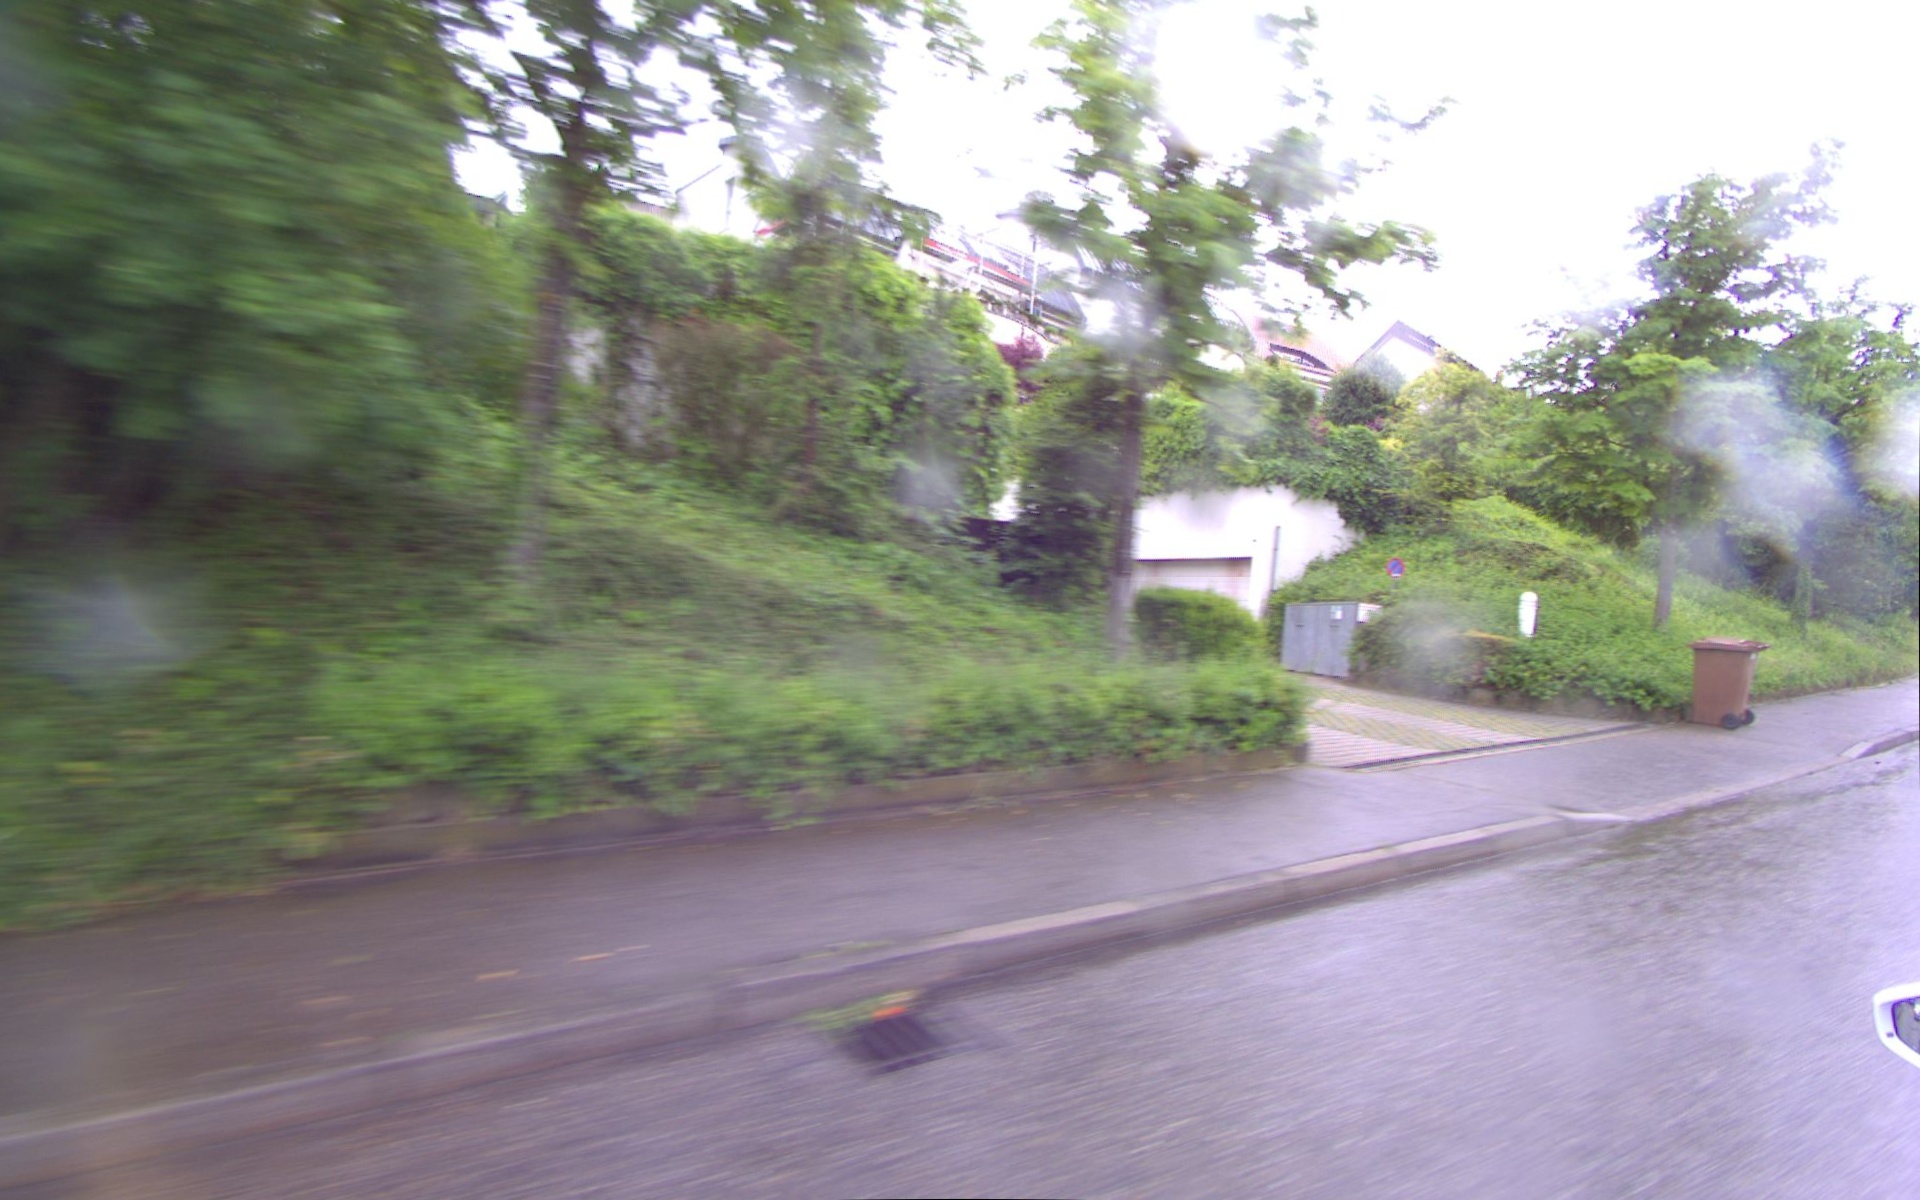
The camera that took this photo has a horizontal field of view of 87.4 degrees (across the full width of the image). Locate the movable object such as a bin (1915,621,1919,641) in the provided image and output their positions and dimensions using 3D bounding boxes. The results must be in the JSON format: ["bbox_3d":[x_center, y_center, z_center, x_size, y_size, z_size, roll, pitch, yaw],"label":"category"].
[{"bbox_3d":[46.560,1.500,48.445,0.640,0.923,0.670,4,2,40],"label":"movable object such as a bin"}]

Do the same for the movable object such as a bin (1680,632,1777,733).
[{"bbox_3d":[9.555,1.001,12.499,0.794,1.105,0.690,-3,5,-32],"label":"movable object such as a bin"}]

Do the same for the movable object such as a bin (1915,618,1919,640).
[{"bbox_3d":[47.109,1.424,49.033,0.640,1.095,0.670,4,2,40],"label":"movable object such as a bin"}]
